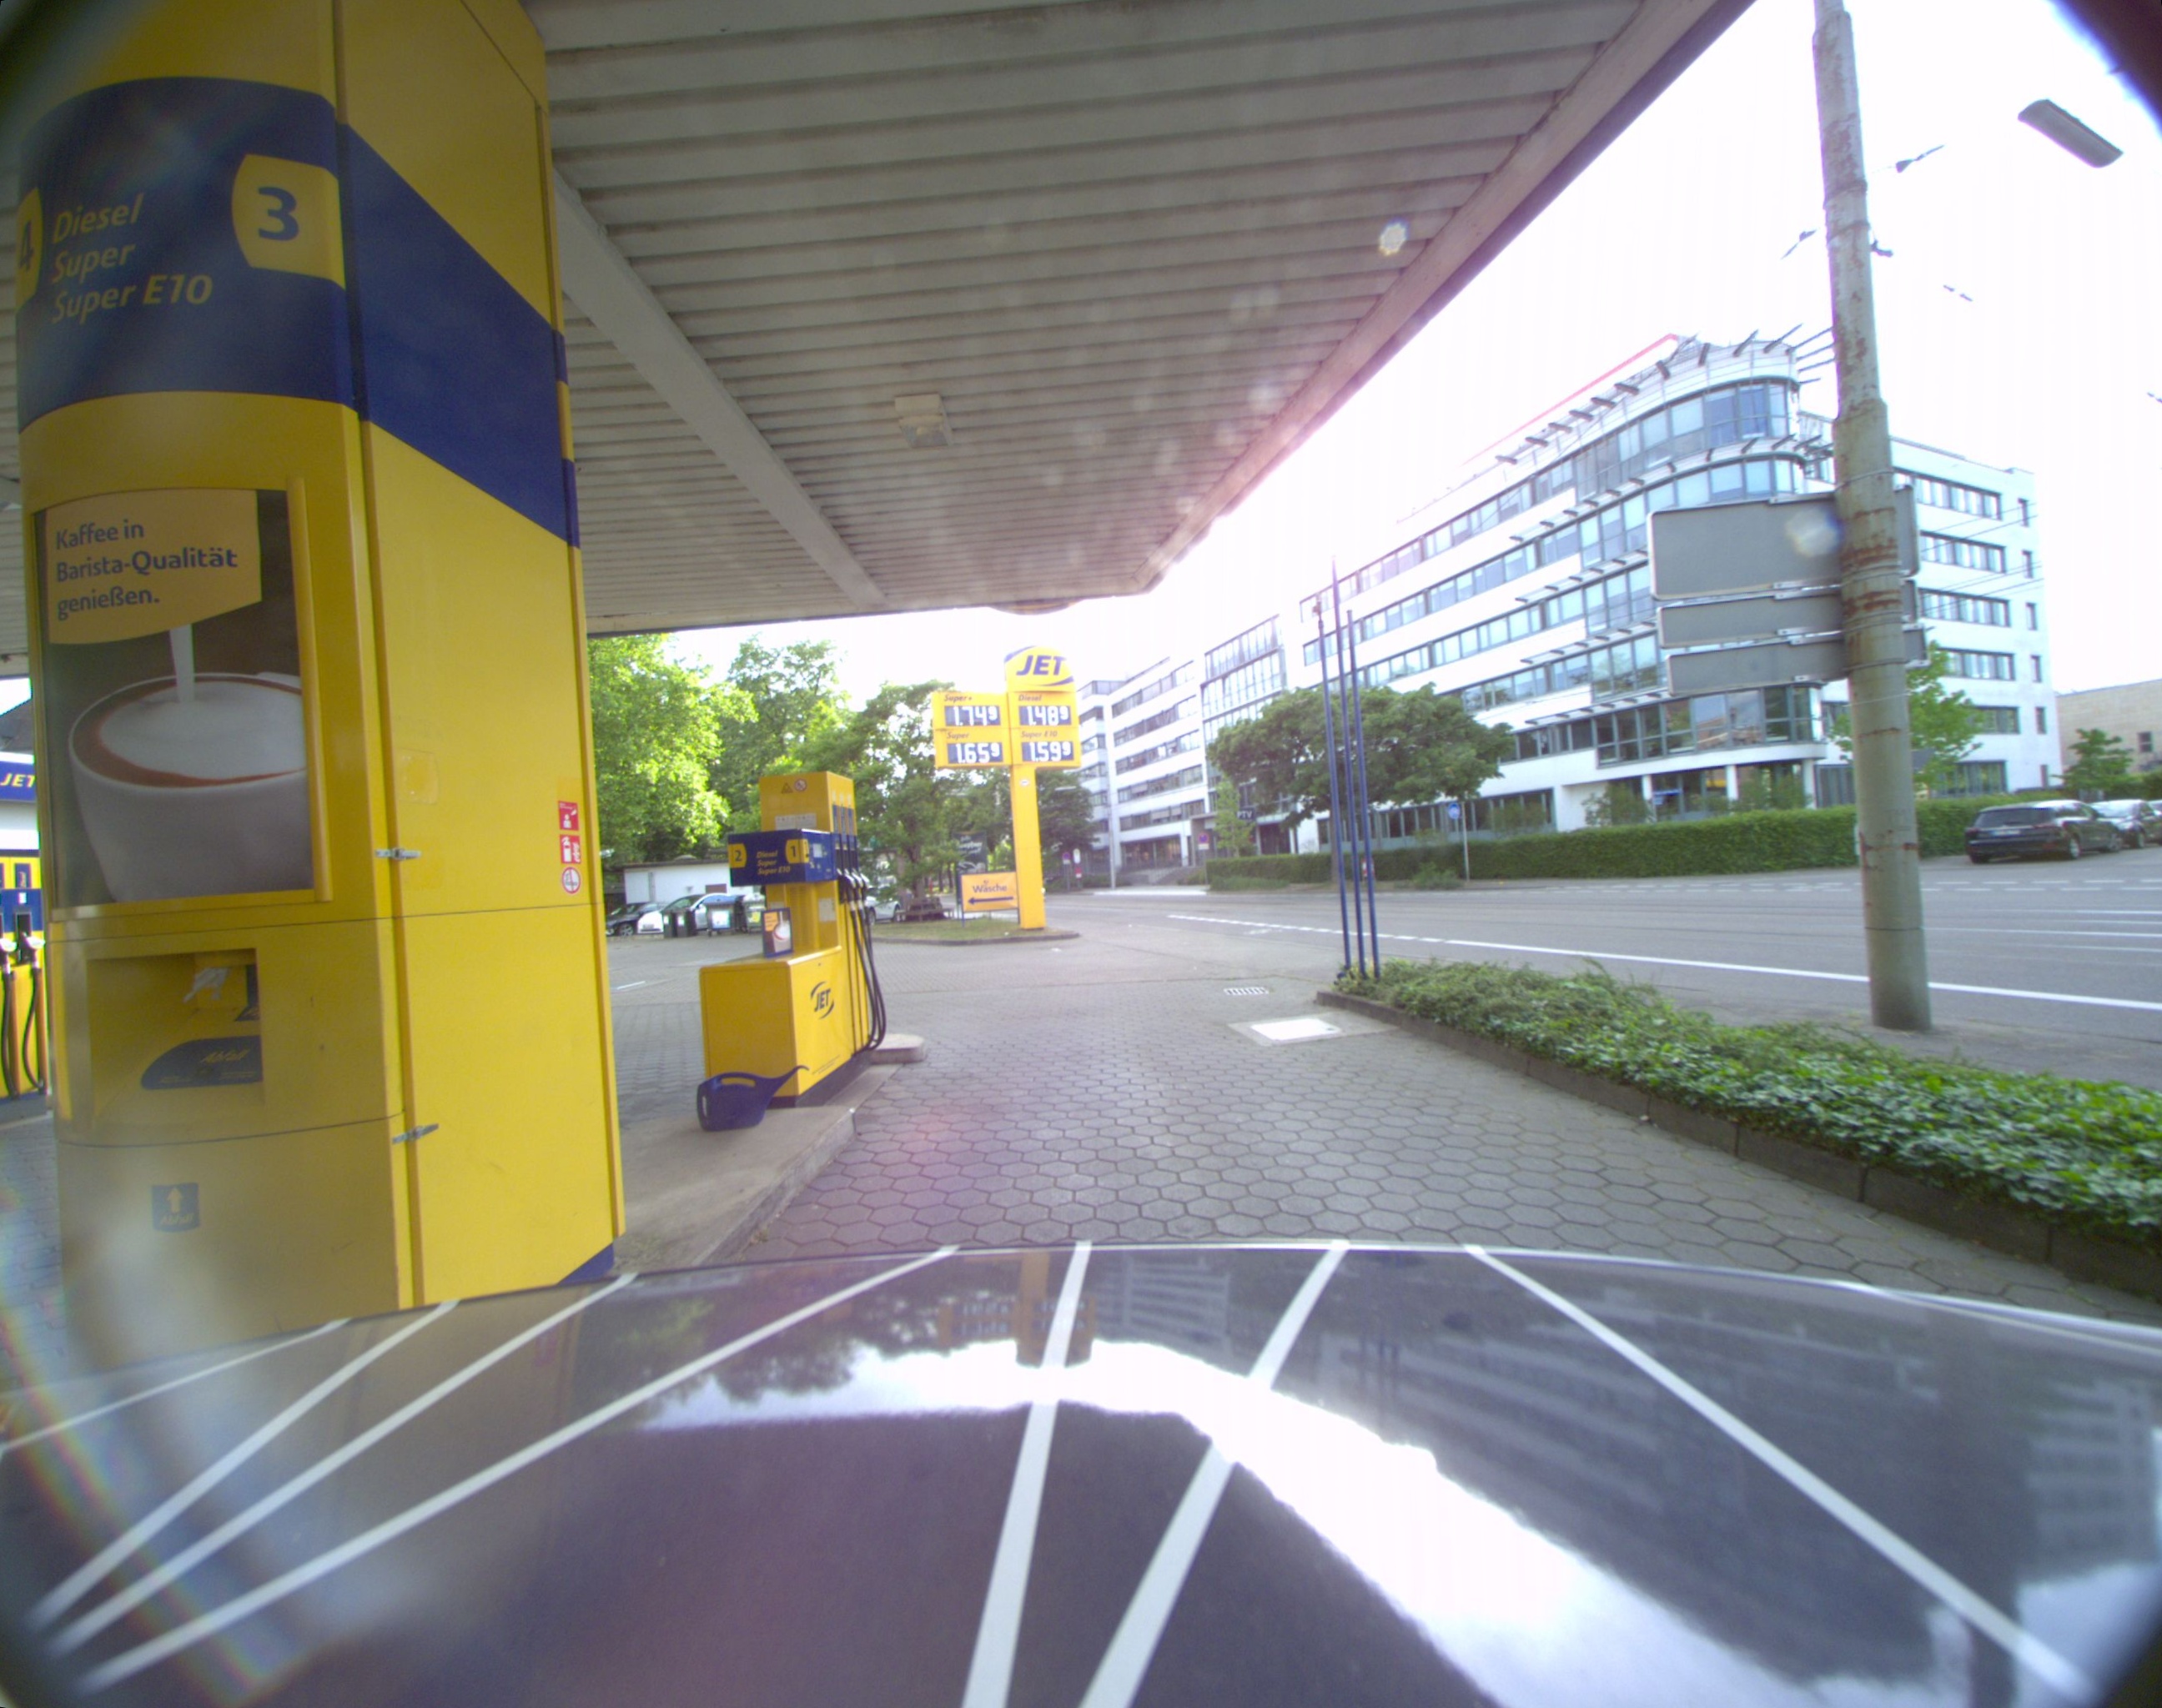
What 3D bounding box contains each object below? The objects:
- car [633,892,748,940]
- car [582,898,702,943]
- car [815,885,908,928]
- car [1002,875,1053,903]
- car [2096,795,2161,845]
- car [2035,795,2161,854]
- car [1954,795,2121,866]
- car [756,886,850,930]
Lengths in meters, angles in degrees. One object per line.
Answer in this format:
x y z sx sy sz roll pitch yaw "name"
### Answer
-15.396 2.410 30.264 1.823 1.575 4.200 -4 -2 10 "car"
-17.540 2.629 30.619 1.823 1.426 4.200 -4 -2 10 "car"
-8.663 2.045 30.388 1.823 1.449 4.200 -4 -2 10 "car"
-3.483 2.220 48.930 1.865 1.500 4.820 -5 0 -20 "car"
37.098 -1.256 26.024 4.201 1.568 1.820 -4 -1 -24 "car"
32.569 -0.961 24.076 4.201 1.568 1.820 -4 -1 -24 "car"
27.411 -0.671 21.766 4.397 1.678 1.820 -4 -1 -24 "car"
-11.752 2.263 32.476 1.823 1.575 4.200 -4 -2 10 "car"
